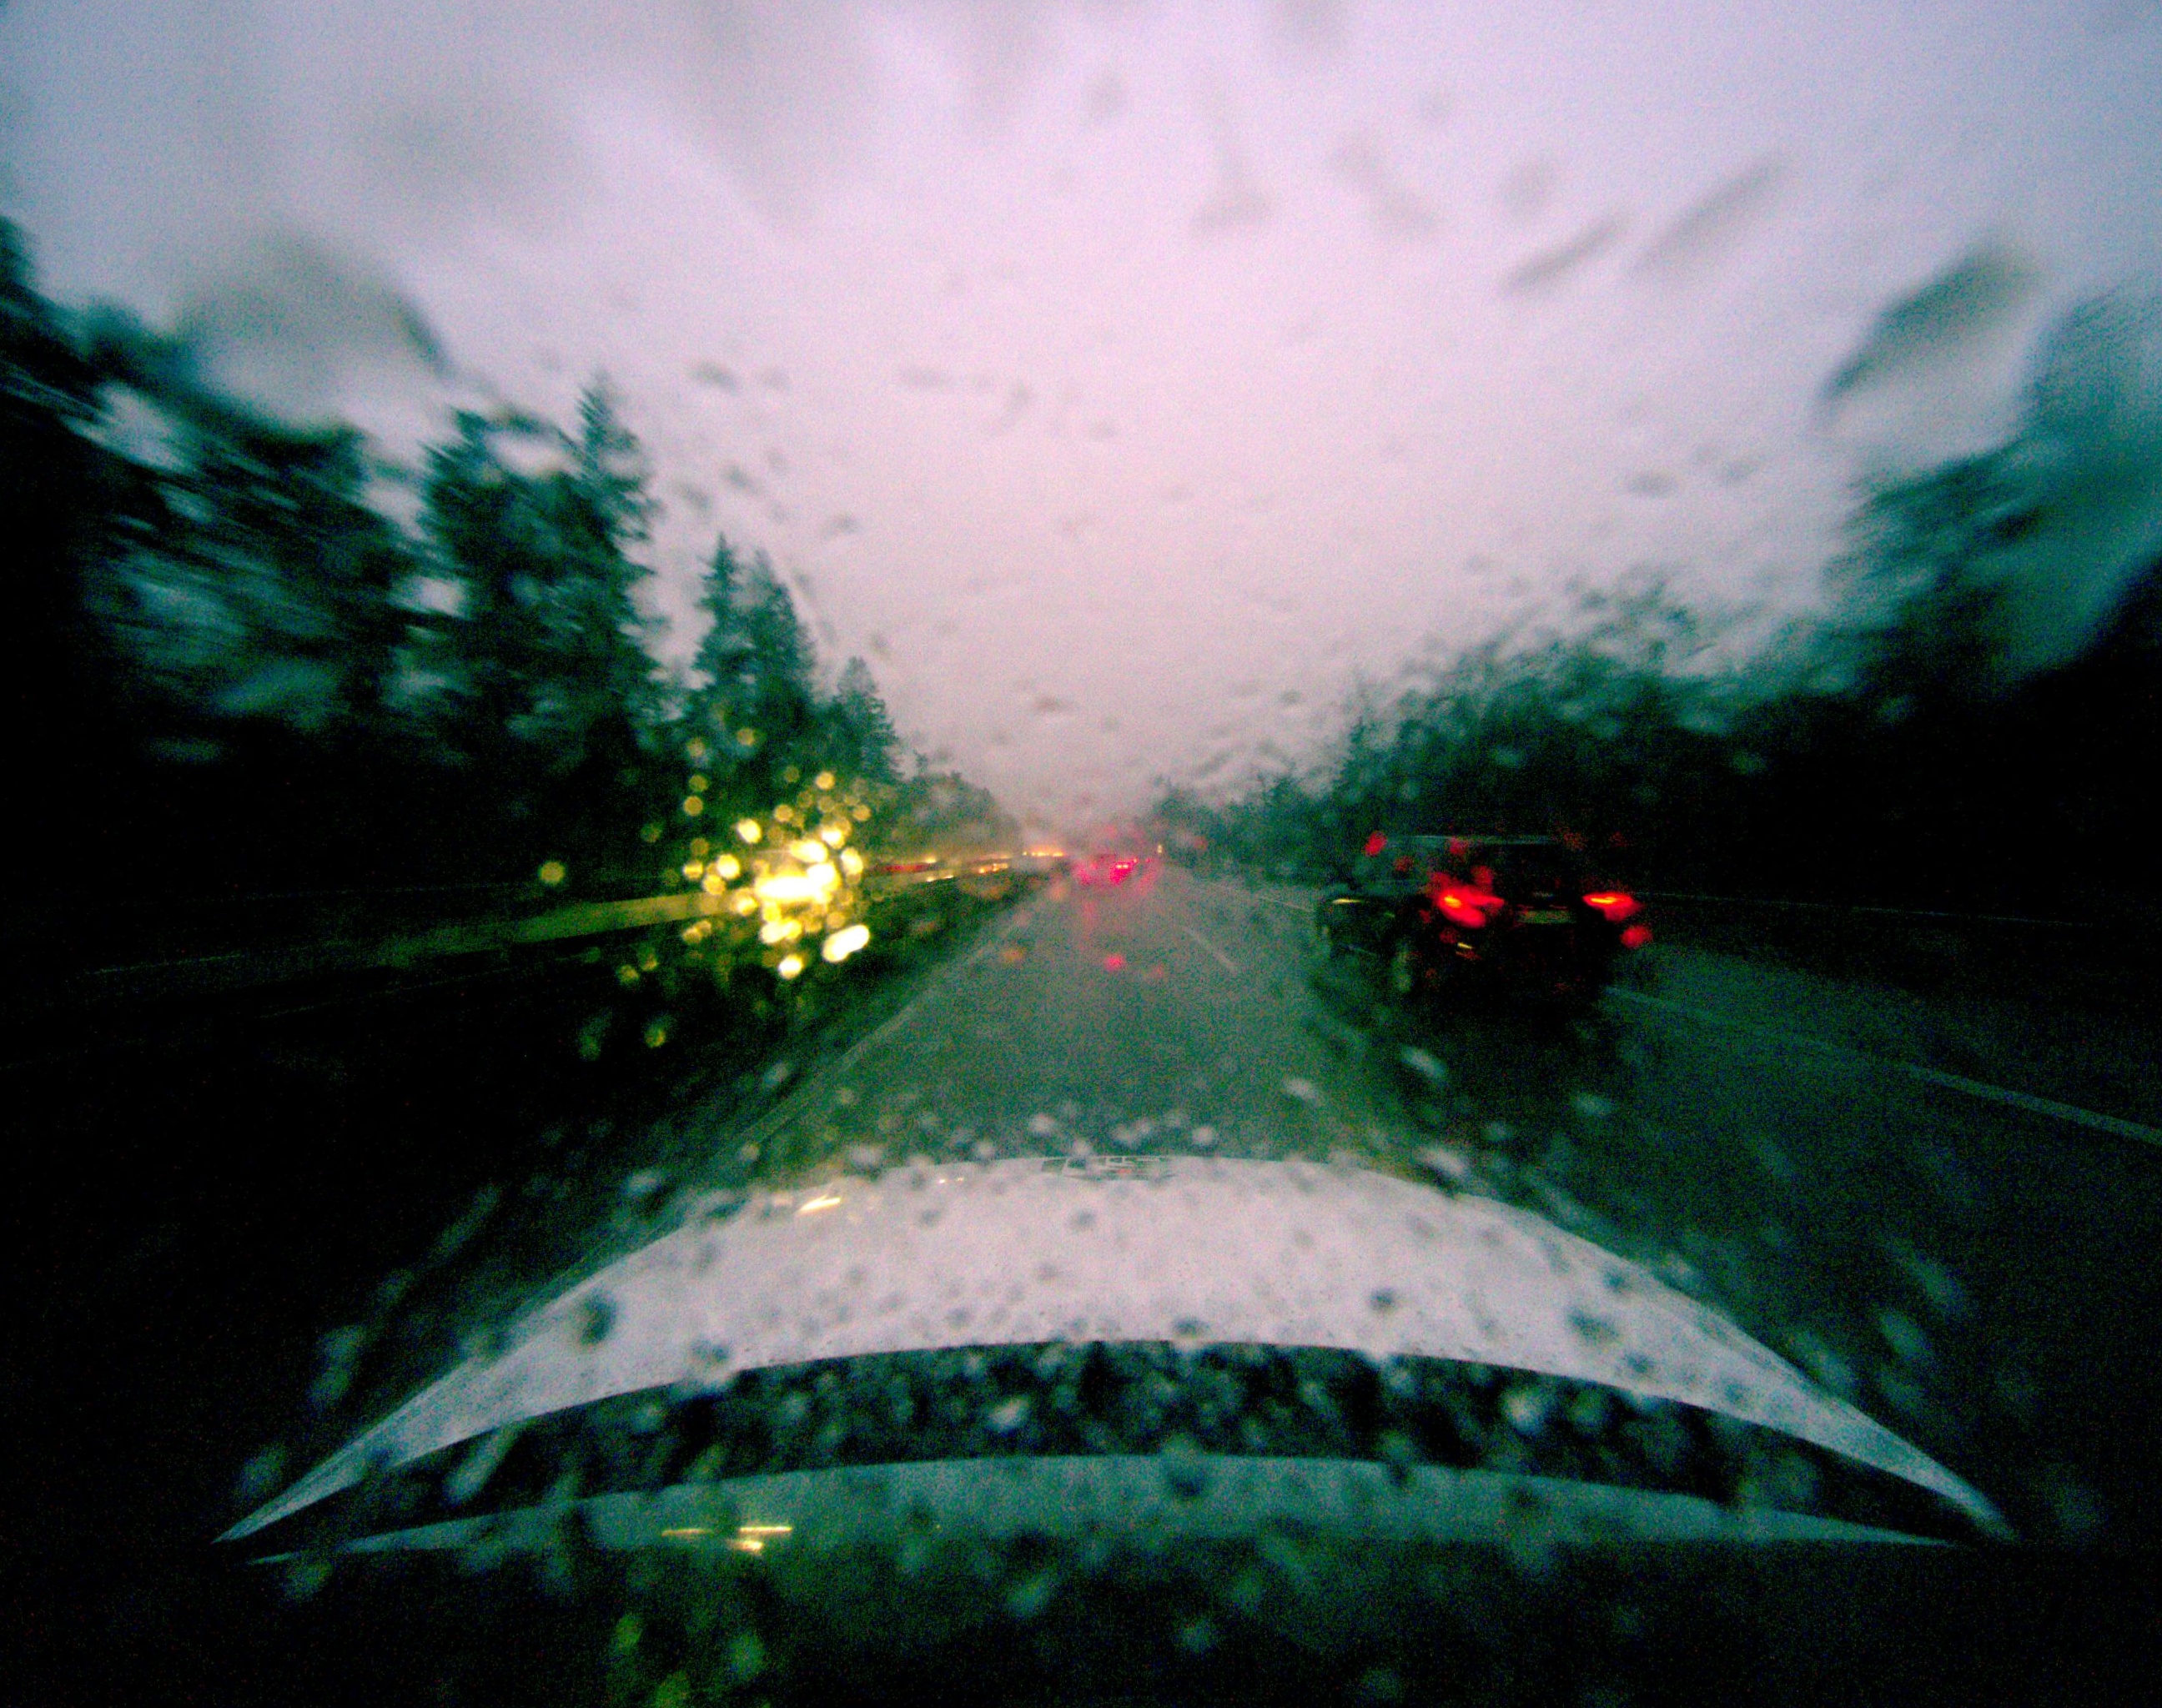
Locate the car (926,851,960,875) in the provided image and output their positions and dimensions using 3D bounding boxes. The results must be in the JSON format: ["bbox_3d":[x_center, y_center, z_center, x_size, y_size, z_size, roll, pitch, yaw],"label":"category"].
[{"bbox_3d":[-10.354,0.649,61.240,1.806,1.691,4.000,-1,0,1],"label":"car"}]

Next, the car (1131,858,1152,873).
[{"bbox_3d":[5.838,1.102,78.910,1.775,1.437,3.535,0,0,-2],"label":"car"}]

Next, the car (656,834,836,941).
[{"bbox_3d":[-7.045,0.637,17.748,1.926,2.013,4.640,-1,0,1],"label":"car"}]

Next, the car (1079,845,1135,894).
[{"bbox_3d":[0.988,0.562,31.676,1.979,1.767,4.174,-1,0,1],"label":"car"}]

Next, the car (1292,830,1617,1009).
[{"bbox_3d":[4.150,0.629,10.031,2.062,1.698,4.463,-1,0,2],"label":"car"}]
